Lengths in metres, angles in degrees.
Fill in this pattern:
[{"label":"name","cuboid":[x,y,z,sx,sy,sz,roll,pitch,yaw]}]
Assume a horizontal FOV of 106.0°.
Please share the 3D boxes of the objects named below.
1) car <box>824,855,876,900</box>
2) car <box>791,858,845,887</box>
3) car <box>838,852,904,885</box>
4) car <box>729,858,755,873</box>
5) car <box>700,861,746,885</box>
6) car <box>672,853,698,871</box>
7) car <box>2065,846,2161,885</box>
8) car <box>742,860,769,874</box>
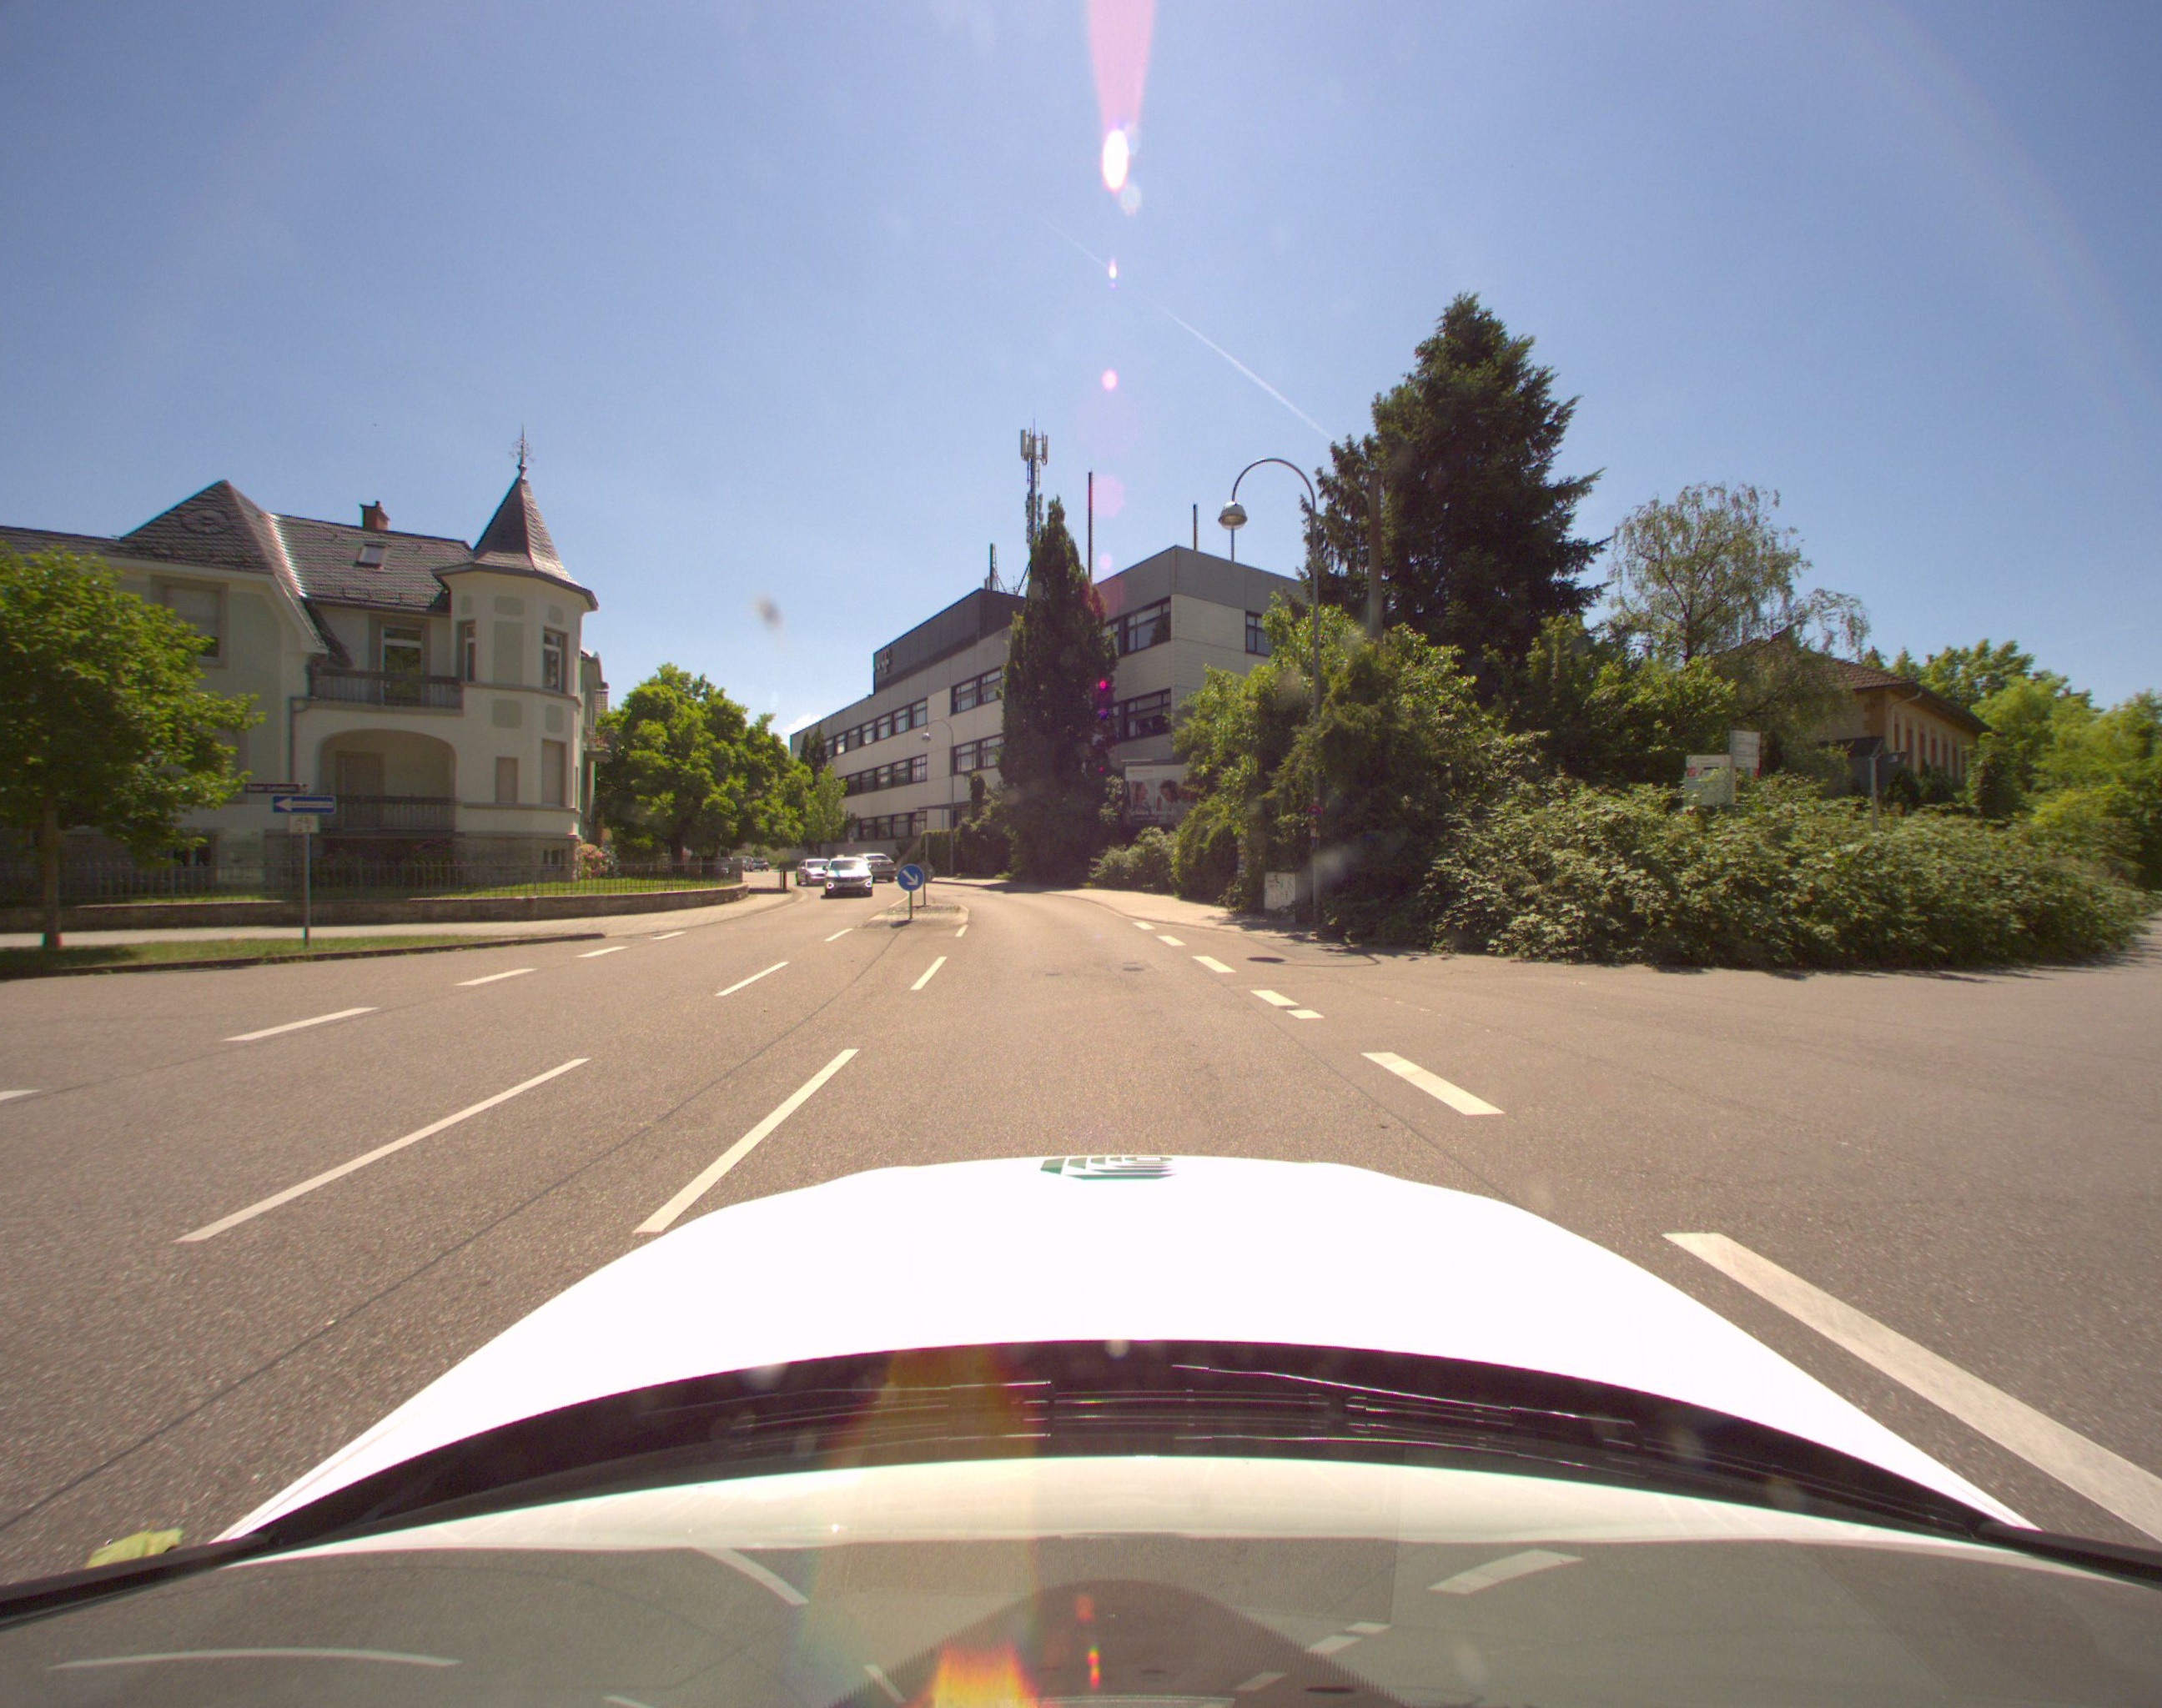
[{"label":"car","cuboid":[-9.262,0.876,32.805,1.875,1.623,4.282,0,1,-15]},{"label":"car","cuboid":[-14.100,0.974,43.542,1.770,1.435,4.261,-2,0,-31]},{"label":"car","cuboid":[-11.960,0.797,46.210,1.952,1.614,4.421,-7,4,-38]},{"label":"car","cuboid":[-36.136,1.242,86.871,1.671,1.488,4.299,-2,1,-35]},{"label":"car","cuboid":[-23.792,1.263,54.058,1.939,1.437,4.610,3,-2,-34]},{"label":"car","cuboid":[-51.294,1.019,105.411,2.086,2.196,5.082,-2,1,-35]},{"label":"car","cuboid":[63.657,0.694,49.633,2.209,2.322,4.414,0,0,-31]},{"label":"car","cuboid":[-32.861,1.282,82.216,1.875,1.373,3.959,0,-1,-32]}]
